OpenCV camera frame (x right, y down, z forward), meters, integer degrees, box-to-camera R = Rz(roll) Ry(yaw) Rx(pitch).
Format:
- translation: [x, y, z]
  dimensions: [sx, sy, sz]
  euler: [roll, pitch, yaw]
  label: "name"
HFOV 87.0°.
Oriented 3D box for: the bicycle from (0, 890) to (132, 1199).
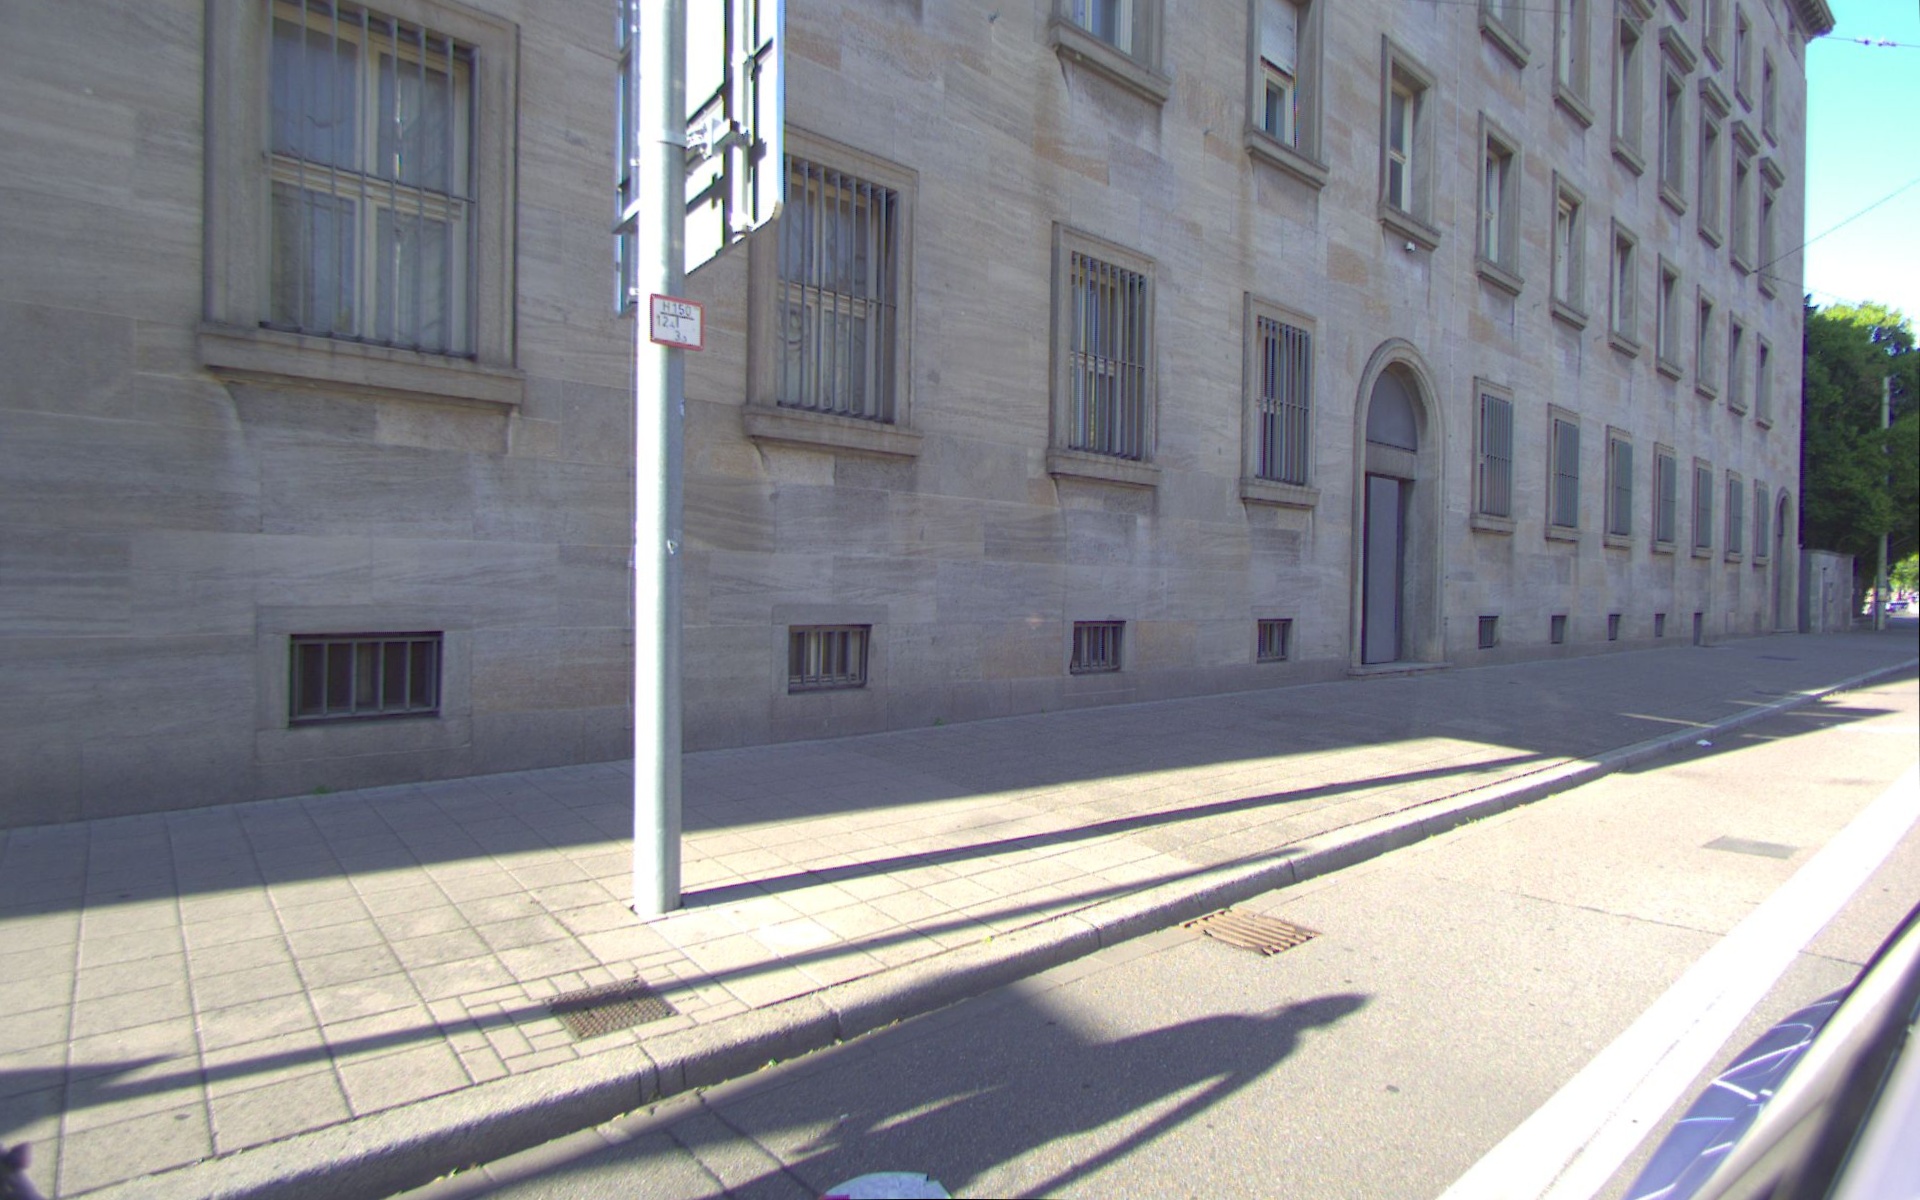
- translation: [-2.209, 1.003, 1.172]
  dimensions: [1.915, 0.887, 0.428]
  euler: [0, 1, -38]
  label: "bicycle"
